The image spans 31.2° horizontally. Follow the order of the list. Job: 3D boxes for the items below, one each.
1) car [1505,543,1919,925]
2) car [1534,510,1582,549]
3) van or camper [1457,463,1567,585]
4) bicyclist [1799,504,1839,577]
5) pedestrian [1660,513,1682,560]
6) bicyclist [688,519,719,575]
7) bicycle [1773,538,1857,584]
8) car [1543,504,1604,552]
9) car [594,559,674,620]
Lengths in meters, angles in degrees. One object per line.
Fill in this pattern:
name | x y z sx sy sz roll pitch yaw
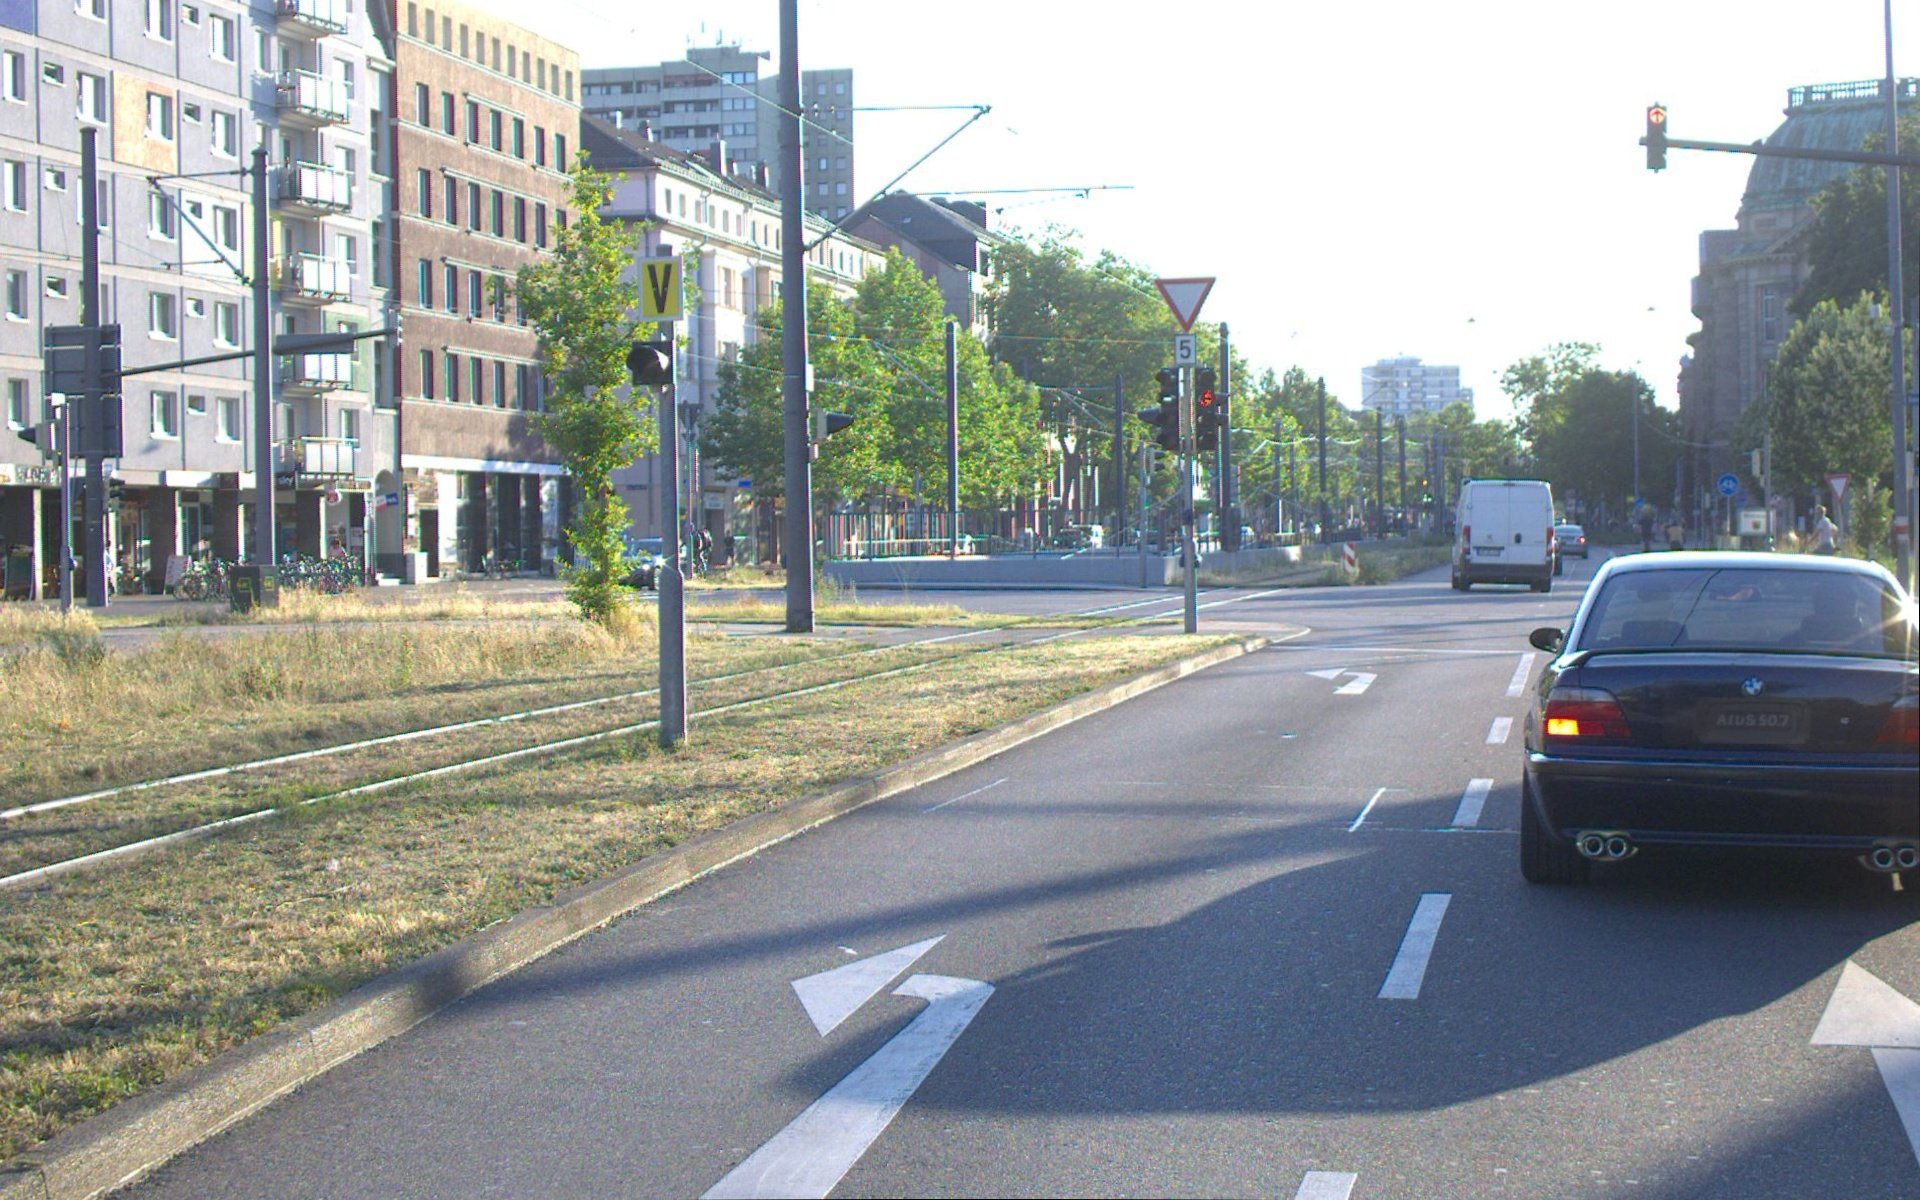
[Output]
car | 3.433 0.473 15.458 1.831 1.349 4.640 1 2 10
car | 25.718 -3.035 147.932 1.794 1.560 4.000 -1 2 7
van or camper | 12.521 -1.758 77.757 2.264 2.616 4.501 -1 2 11
bicyclist | 18.639 -1.290 74.601 0.798 1.566 0.663 -1 2 13
pedestrian | 22.403 -1.998 108.369 0.617 1.470 0.800 0 2 15
bicyclist | -6.787 -1.399 90.893 0.661 1.437 0.856 1 2 5
bicycle | 18.555 -0.849 74.634 1.729 0.966 0.609 0 2 12
car | 18.817 -2.220 105.361 1.738 1.381 3.999 -1 2 11
car | -8.724 -0.301 91.751 1.712 1.429 4.002 0 3 -11
